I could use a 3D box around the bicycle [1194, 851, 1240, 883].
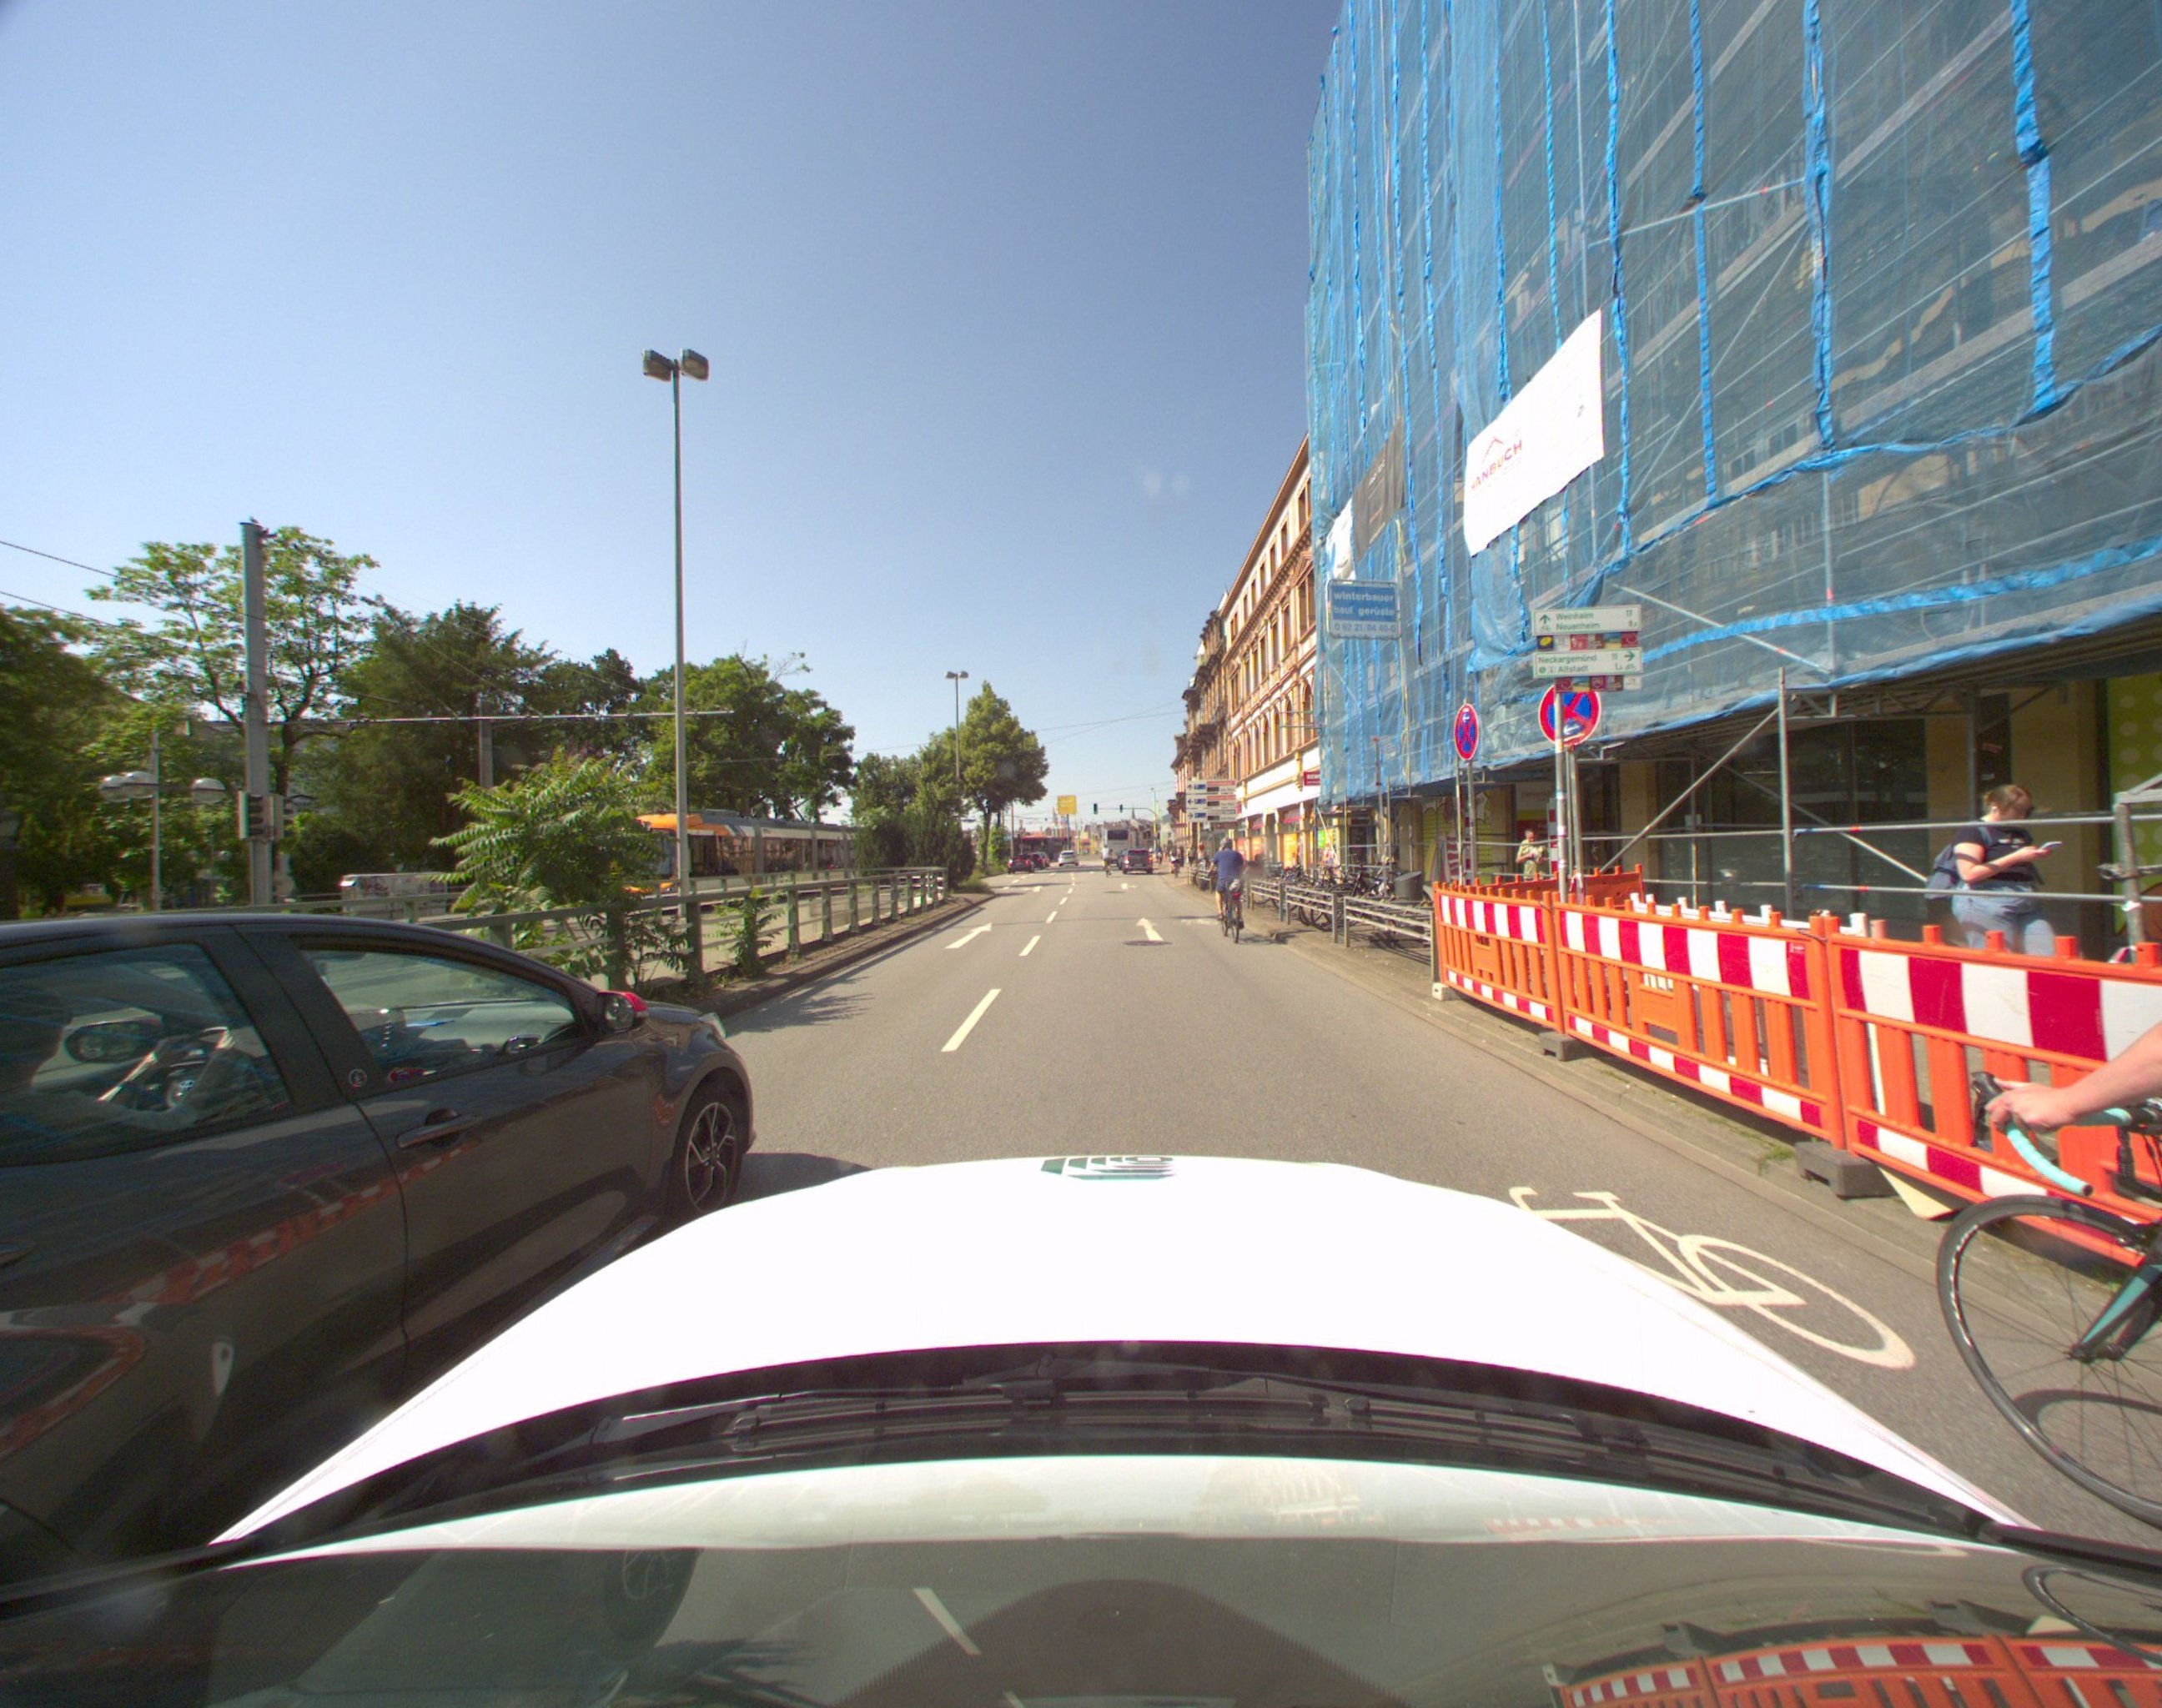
[{"bbox_3d":[5.296,0.498,31.768,1.687,1.178,0.470,-1,0,1],"label":"bicycle"}]

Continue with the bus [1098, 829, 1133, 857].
[{"bbox_3d":[3.465,-1.109,84.942,2.962,2.776,8.634,0,0,-2],"label":"bus"}]

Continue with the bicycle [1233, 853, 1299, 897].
[{"bbox_3d":[5.144,0.586,22.699,1.687,1.178,0.609,-1,0,2],"label":"bicycle"}]

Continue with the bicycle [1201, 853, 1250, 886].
[{"bbox_3d":[5.247,0.556,29.560,1.687,1.178,0.514,-1,0,2],"label":"bicycle"}]

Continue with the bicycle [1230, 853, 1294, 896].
[{"bbox_3d":[5.174,0.589,23.364,1.687,1.178,0.609,-1,0,2],"label":"bicycle"}]

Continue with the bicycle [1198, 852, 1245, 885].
[{"bbox_3d":[5.300,0.552,30.724,1.687,1.178,0.460,-1,0,2],"label":"bicycle"}]

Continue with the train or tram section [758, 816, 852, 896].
[{"bbox_3d":[-13.306,0.080,39.646,2.604,3.581,5.358,0,0,1],"label":"train or tram section"}]

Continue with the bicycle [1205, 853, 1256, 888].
[{"bbox_3d":[5.227,0.558,28.528,1.687,1.178,0.463,-1,0,2],"label":"bicycle"}]

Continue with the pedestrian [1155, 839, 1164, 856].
[{"bbox_3d":[8.001,-0.667,83.328,0.859,1.640,0.875,0,0,0],"label":"pedestrian"}]

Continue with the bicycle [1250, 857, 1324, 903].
[{"bbox_3d":[5.125,0.649,20.355,1.687,1.087,0.609,-1,0,2],"label":"bicycle"}]

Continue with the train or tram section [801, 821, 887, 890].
[{"bbox_3d":[-13.154,0.062,45.779,2.604,3.581,6.900,0,0,1],"label":"train or tram section"}]

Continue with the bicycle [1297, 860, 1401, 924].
[{"bbox_3d":[4.845,0.675,14.781,1.687,1.097,0.609,-1,0,2],"label":"bicycle"}]

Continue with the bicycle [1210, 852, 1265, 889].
[{"bbox_3d":[5.165,0.554,26.912,1.687,1.178,0.498,-1,0,2],"label":"bicycle"}]

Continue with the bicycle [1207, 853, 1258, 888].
[{"bbox_3d":[5.203,0.560,28.018,1.687,1.178,0.452,-1,0,2],"label":"bicycle"}]

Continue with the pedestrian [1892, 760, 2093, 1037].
[{"bbox_3d":[6.197,0.286,5.575,0.637,1.776,0.649,0,0,1],"label":"pedestrian"}]

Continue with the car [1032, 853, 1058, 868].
[{"bbox_3d":[-3.334,0.630,76.619,2.029,1.332,4.003,0,0,2],"label":"car"}]

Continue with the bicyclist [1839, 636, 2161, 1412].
[{"bbox_3d":[2.378,0.319,1.613,0.686,1.463,1.143,0,0,0],"label":"bicyclist"}]

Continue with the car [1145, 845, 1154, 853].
[{"bbox_3d":[16.797,-1.144,199.418,1.985,1.877,4.004,-3,0,4],"label":"car"}]

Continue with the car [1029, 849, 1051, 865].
[{"bbox_3d":[-3.454,0.275,69.234,1.446,1.300,4.003,0,0,3],"label":"car"}]

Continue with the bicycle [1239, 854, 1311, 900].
[{"bbox_3d":[5.147,0.598,21.679,1.764,1.178,0.609,-1,0,2],"label":"bicycle"}]

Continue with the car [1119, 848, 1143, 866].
[{"bbox_3d":[4.327,0.258,70.665,1.985,1.492,4.003,0,0,3],"label":"car"}]

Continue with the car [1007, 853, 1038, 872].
[{"bbox_3d":[-4.270,0.620,60.216,1.808,1.332,4.003,0,0,3],"label":"car"}]

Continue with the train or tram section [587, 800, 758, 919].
[{"bbox_3d":[-13.647,0.163,27.815,2.604,3.581,6.105,0,0,1],"label":"train or tram section"}]

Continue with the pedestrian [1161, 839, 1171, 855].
[{"bbox_3d":[8.869,-0.731,85.055,0.859,1.640,0.875,-3,0,0],"label":"pedestrian"}]

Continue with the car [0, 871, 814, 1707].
[{"bbox_3d":[-2.416,0.888,2.325,1.770,1.475,4.002,-3,0,2],"label":"car"}]

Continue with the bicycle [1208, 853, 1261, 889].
[{"bbox_3d":[5.174,0.562,27.485,1.687,1.178,0.491,-1,0,2],"label":"bicycle"}]

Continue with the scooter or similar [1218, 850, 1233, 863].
[{"bbox_3d":[7.991,0.143,45.062,0.689,0.650,0.565,-6,0,0],"label":"scooter or similar"}]

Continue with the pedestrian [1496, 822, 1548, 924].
[{"bbox_3d":[7.223,0.296,13.317,0.637,1.601,0.770,-1,0,36],"label":"pedestrian"}]

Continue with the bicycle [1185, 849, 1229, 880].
[{"bbox_3d":[5.188,0.430,33.657,1.687,1.178,0.609,-3,1,2],"label":"bicycle"}]

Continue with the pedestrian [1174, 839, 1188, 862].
[{"bbox_3d":[7.411,-0.233,60.450,0.859,1.640,0.875,-3,0,0],"label":"pedestrian"}]

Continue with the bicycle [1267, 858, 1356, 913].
[{"bbox_3d":[4.954,0.670,17.568,1.732,1.109,0.609,-1,0,2],"label":"bicycle"}]

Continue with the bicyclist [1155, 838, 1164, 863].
[{"bbox_3d":[6.135,-0.270,63.870,0.685,1.962,0.779,-1,0,4],"label":"bicyclist"}]

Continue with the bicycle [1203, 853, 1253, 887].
[{"bbox_3d":[5.242,0.557,29.022,1.687,1.178,0.457,-1,0,2],"label":"bicycle"}]

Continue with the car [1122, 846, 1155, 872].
[{"bbox_3d":[3.515,0.276,50.113,1.866,1.492,4.003,-3,0,3],"label":"car"}]

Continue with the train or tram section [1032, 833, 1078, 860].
[{"bbox_3d":[-3.527,-1.045,111.549,2.796,3.581,8.274,-1,0,25],"label":"train or tram section"}]

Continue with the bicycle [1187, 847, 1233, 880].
[{"bbox_3d":[5.230,0.388,33.022,1.687,1.178,0.609,-5,1,2],"label":"bicycle"}]

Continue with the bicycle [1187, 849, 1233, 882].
[{"bbox_3d":[5.119,0.461,32.371,1.687,1.178,0.609,-3,1,2],"label":"bicycle"}]

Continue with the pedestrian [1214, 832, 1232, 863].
[{"bbox_3d":[7.956,-0.340,45.685,0.753,1.655,0.837,-6,-1,1],"label":"pedestrian"}]

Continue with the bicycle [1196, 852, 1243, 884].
[{"bbox_3d":[5.311,0.550,31.305,1.687,1.178,0.470,-1,0,1],"label":"bicycle"}]

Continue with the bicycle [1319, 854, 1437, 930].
[{"bbox_3d":[4.830,0.602,13.303,1.687,1.178,0.609,-1,0,2],"label":"bicycle"}]

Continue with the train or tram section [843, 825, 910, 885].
[{"bbox_3d":[-13.008,0.044,52.234,2.604,3.581,6.019,0,0,1],"label":"train or tram section"}]

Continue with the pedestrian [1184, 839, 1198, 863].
[{"bbox_3d":[7.943,-0.233,58.752,0.859,1.640,0.875,-3,0,0],"label":"pedestrian"}]

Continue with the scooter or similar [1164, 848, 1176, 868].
[{"bbox_3d":[5.323,0.254,48.862,0.685,1.167,1.465,-1,0,4],"label":"scooter or similar"}]

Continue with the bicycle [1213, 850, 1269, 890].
[{"bbox_3d":[5.147,0.516,26.243,1.687,1.241,0.609,-1,0,2],"label":"bicycle"}]

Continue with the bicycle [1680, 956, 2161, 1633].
[{"bbox_3d":[2.368,0.896,1.664,0.731,1.093,2.130,0,0,0],"label":"bicycle"}]

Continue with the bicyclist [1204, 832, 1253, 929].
[{"bbox_3d":[2.541,0.447,14.130,0.686,1.616,0.918,0,0,0],"label":"bicyclist"}]

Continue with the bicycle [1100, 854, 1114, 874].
[{"bbox_3d":[1.432,0.553,45.249,0.731,1.093,1.898,0,0,0],"label":"bicycle"}]

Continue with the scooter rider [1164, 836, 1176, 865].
[{"bbox_3d":[5.337,-0.222,48.899,0.685,1.729,0.779,-1,0,4],"label":"scooter rider"}]

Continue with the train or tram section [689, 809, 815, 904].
[{"bbox_3d":[-13.476,0.097,33.919,2.604,3.581,6.105,0,0,1],"label":"train or tram section"}]

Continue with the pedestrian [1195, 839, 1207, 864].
[{"bbox_3d":[8.049,-0.202,54.681,0.652,1.620,0.815,-3,1,0],"label":"pedestrian"}]

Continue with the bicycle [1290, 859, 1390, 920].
[{"bbox_3d":[4.900,0.669,15.458,1.687,1.097,0.609,-1,0,2],"label":"bicycle"}]

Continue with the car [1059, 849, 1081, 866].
[{"bbox_3d":[-0.978,0.318,77.340,1.851,1.507,4.003,0,0,3],"label":"car"}]

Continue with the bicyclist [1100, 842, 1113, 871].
[{"bbox_3d":[1.417,0.148,45.168,0.686,1.576,1.049,0,0,0],"label":"bicyclist"}]

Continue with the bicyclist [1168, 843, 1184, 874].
[{"bbox_3d":[4.972,0.222,42.626,0.686,1.576,1.050,0,0,1],"label":"bicyclist"}]

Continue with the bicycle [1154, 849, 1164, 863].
[{"bbox_3d":[6.138,0.152,63.879,0.730,1.093,1.900,-1,0,4],"label":"bicycle"}]

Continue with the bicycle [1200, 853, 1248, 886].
[{"bbox_3d":[5.271,0.554,30.141,1.687,1.178,0.459,-1,0,2],"label":"bicycle"}]

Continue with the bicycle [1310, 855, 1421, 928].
[{"bbox_3d":[4.861,0.628,13.988,1.687,1.178,0.609,-1,0,2],"label":"bicycle"}]

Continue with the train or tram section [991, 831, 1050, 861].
[{"bbox_3d":[-7.490,-0.988,103.266,2.796,3.581,10.091,-1,0,25],"label":"train or tram section"}]

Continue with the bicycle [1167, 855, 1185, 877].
[{"bbox_3d":[4.987,0.619,42.796,0.731,1.093,1.898,0,0,1],"label":"bicycle"}]

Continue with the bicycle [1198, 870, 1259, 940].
[{"bbox_3d":[2.548,0.852,14.254,0.731,1.093,1.911,0,0,0],"label":"bicycle"}]
